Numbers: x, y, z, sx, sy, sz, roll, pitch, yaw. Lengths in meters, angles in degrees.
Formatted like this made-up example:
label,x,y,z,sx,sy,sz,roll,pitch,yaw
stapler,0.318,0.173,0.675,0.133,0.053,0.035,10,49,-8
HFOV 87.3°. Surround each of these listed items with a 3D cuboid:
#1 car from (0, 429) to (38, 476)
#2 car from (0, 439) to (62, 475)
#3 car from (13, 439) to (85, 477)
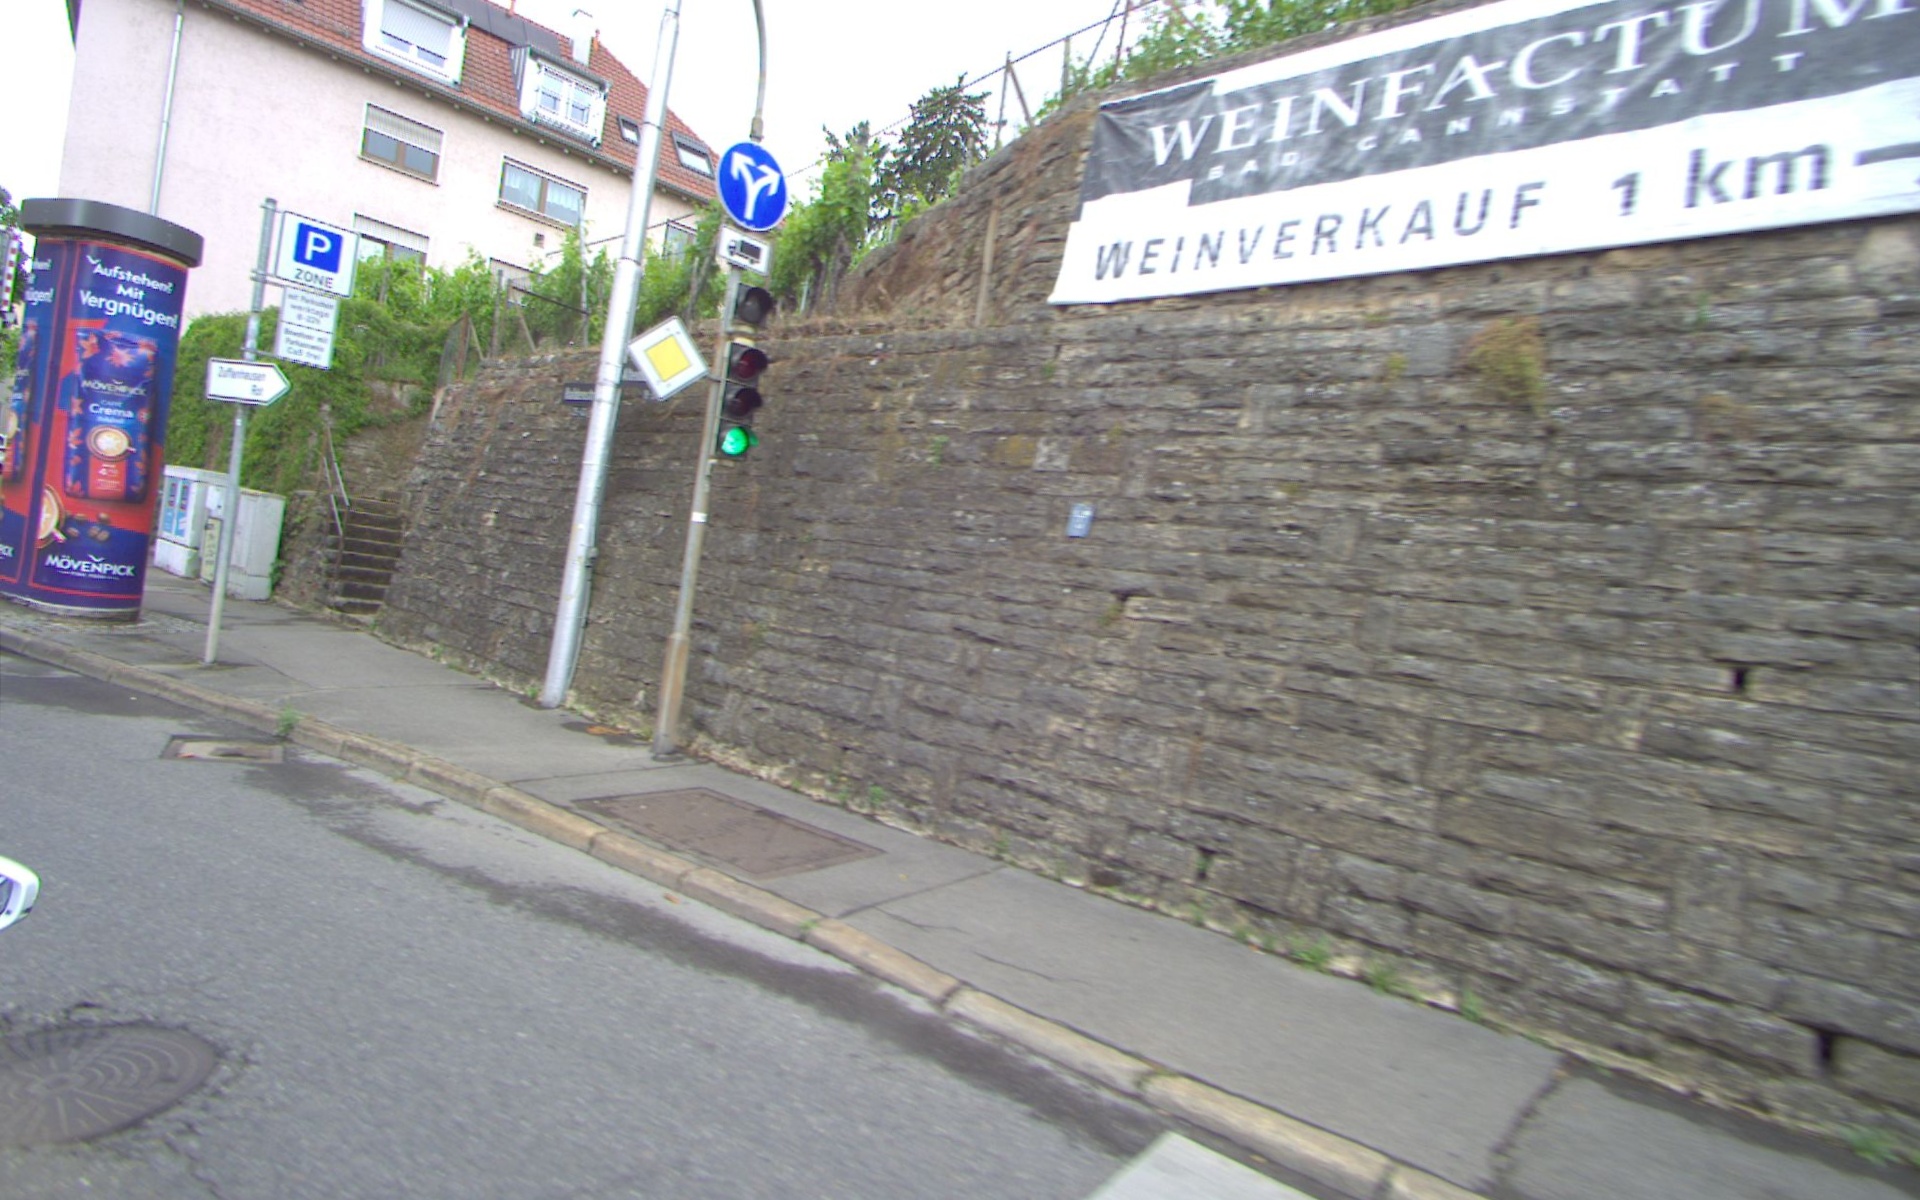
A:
label,x,y,z,sx,sy,sz,roll,pitch,yaw
car,-40.261,-6.244,41.874,1.934,1.741,3.966,5,2,-31
car,-43.146,-6.610,46.445,1.980,1.305,3.961,4,3,-35
car,-46.195,-7.185,51.101,1.795,1.481,3.967,6,2,-30
